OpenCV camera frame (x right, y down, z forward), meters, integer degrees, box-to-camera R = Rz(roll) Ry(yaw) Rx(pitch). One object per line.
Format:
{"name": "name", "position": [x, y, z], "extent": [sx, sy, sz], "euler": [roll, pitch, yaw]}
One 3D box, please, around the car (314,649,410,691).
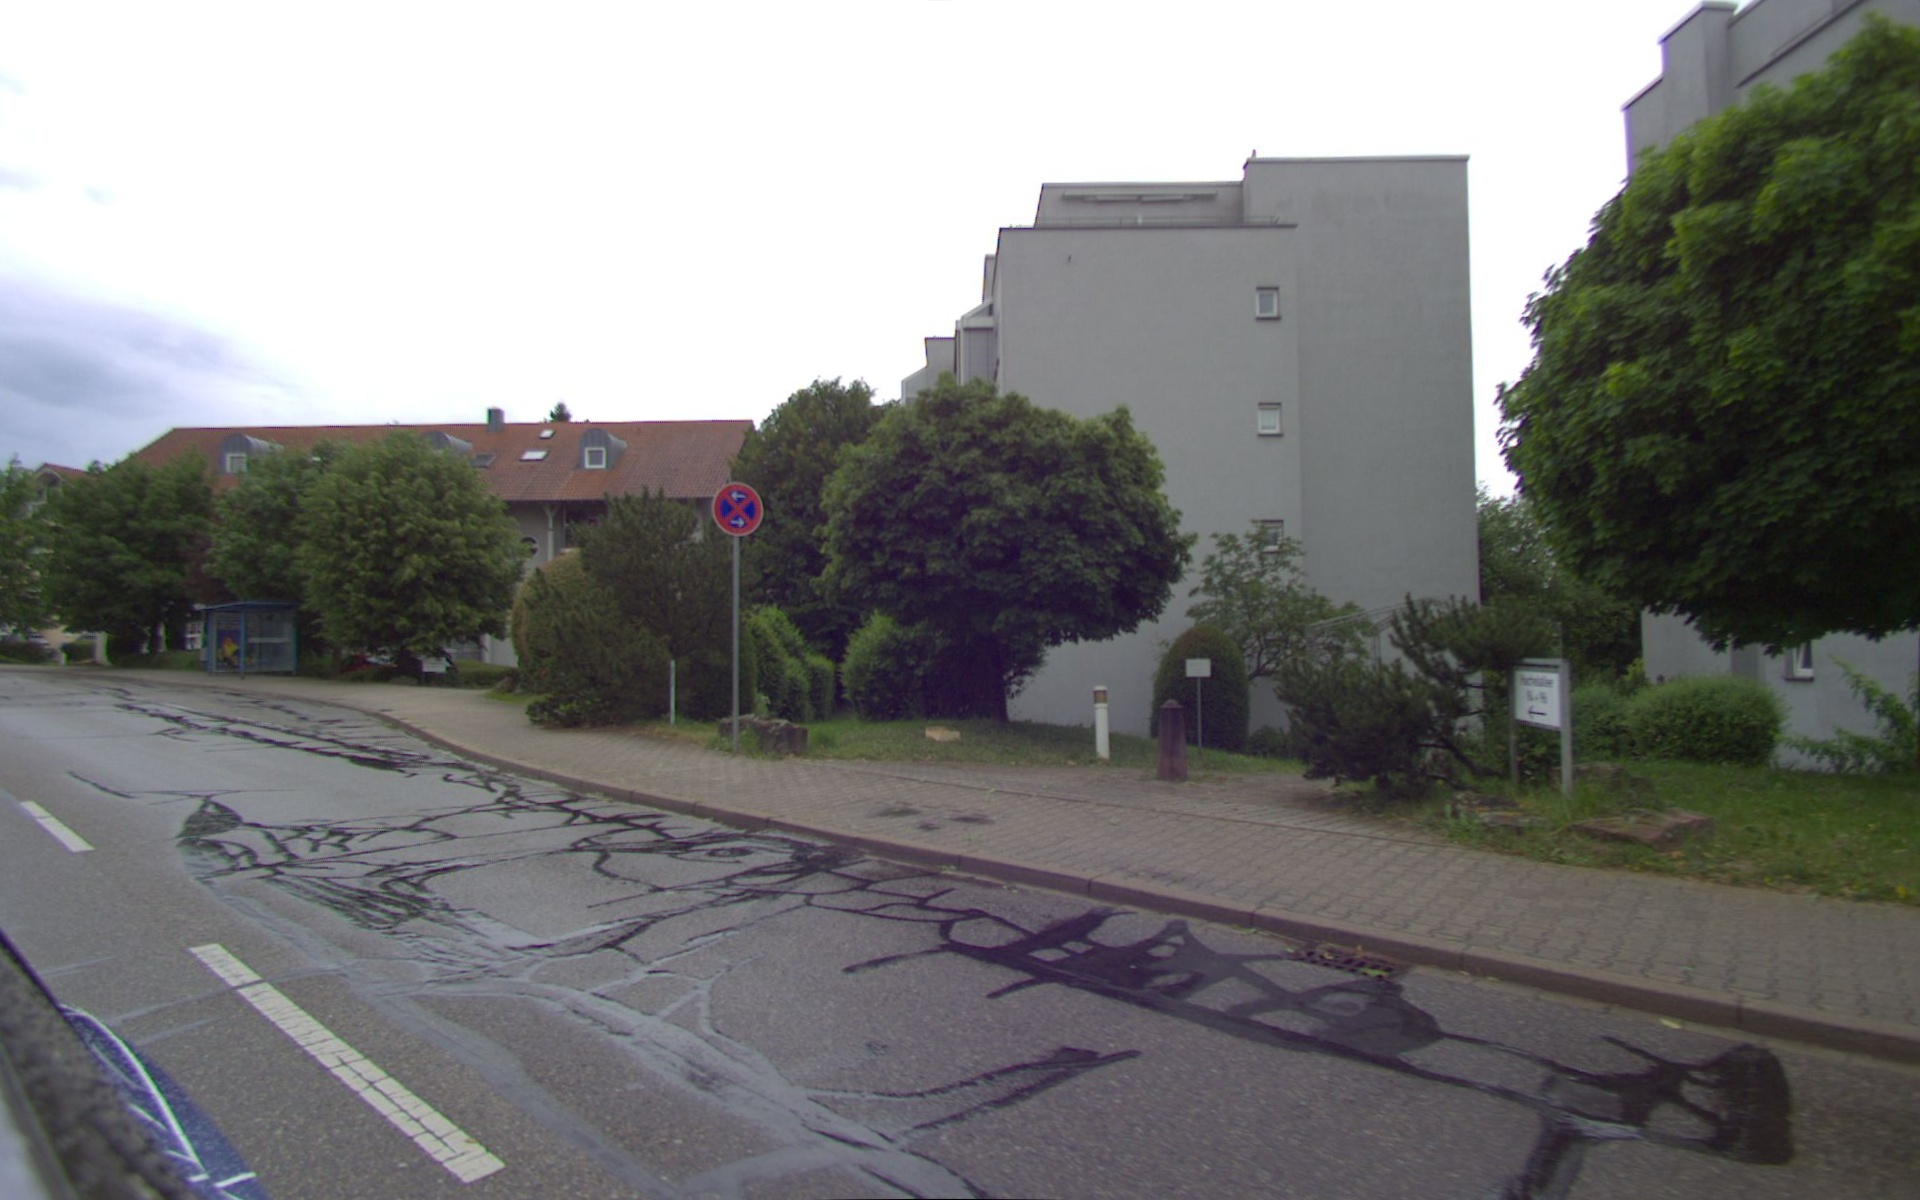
{"name": "car", "position": [-23.304, 2.695, 39.388], "extent": [3.991, 1.475, 1.753], "euler": [-1, -2, 35]}

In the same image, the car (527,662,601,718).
{"name": "car", "position": [-13.809, 3.148, 35.133], "extent": [1.966, 1.432, 4.179], "euler": [-2, -9, -27]}

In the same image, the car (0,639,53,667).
{"name": "car", "position": [-55.089, 3.044, 58.403], "extent": [3.944, 1.614, 1.738], "euler": [0, -3, 0]}

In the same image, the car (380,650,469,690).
{"name": "car", "position": [-21.868, 2.830, 41.285], "extent": [3.991, 1.475, 1.596], "euler": [-1, -2, 35]}
